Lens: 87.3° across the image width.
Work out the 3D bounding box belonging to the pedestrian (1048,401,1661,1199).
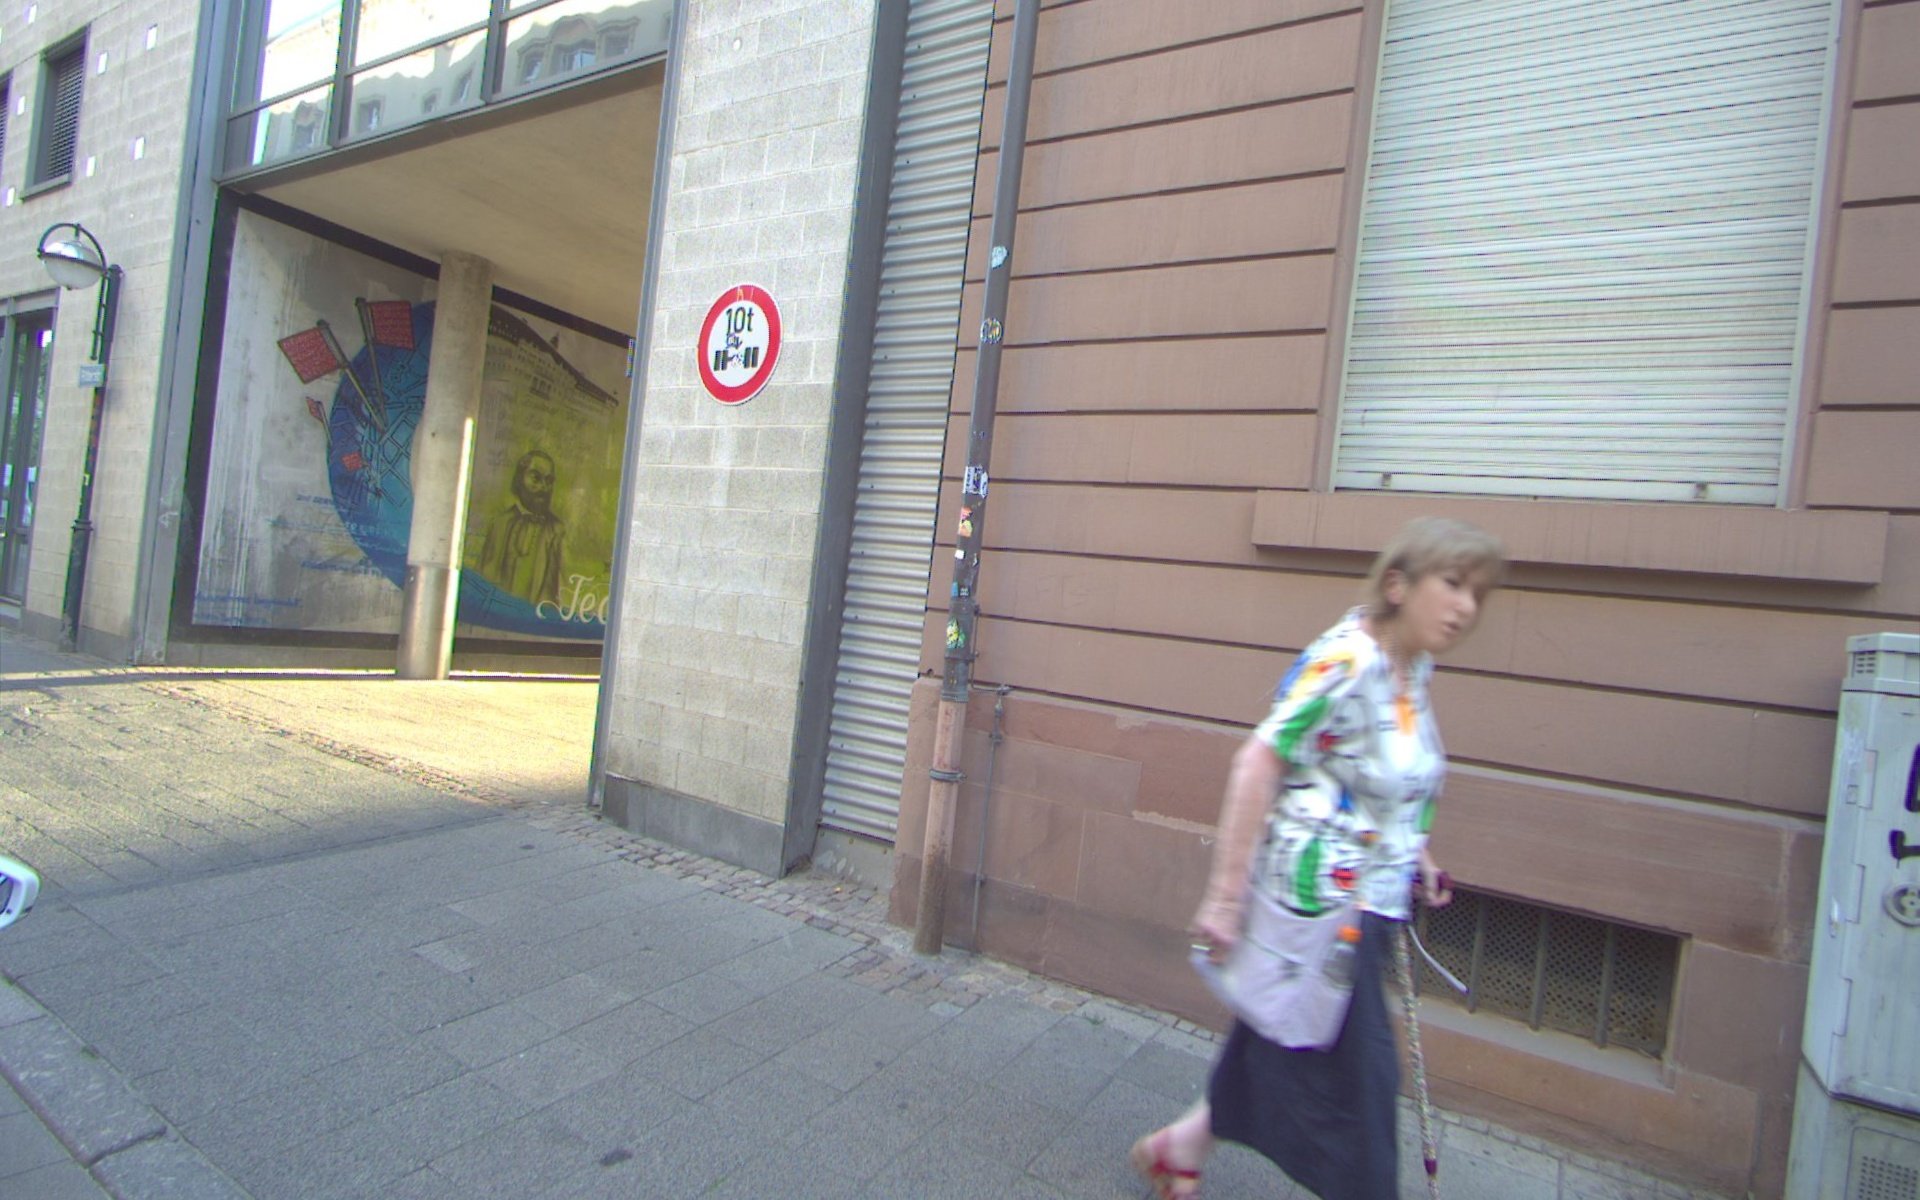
[{"bbox_3d":[0.842,0.593,2.144,0.883,1.827,0.844,7,3,37],"label":"pedestrian"}]
